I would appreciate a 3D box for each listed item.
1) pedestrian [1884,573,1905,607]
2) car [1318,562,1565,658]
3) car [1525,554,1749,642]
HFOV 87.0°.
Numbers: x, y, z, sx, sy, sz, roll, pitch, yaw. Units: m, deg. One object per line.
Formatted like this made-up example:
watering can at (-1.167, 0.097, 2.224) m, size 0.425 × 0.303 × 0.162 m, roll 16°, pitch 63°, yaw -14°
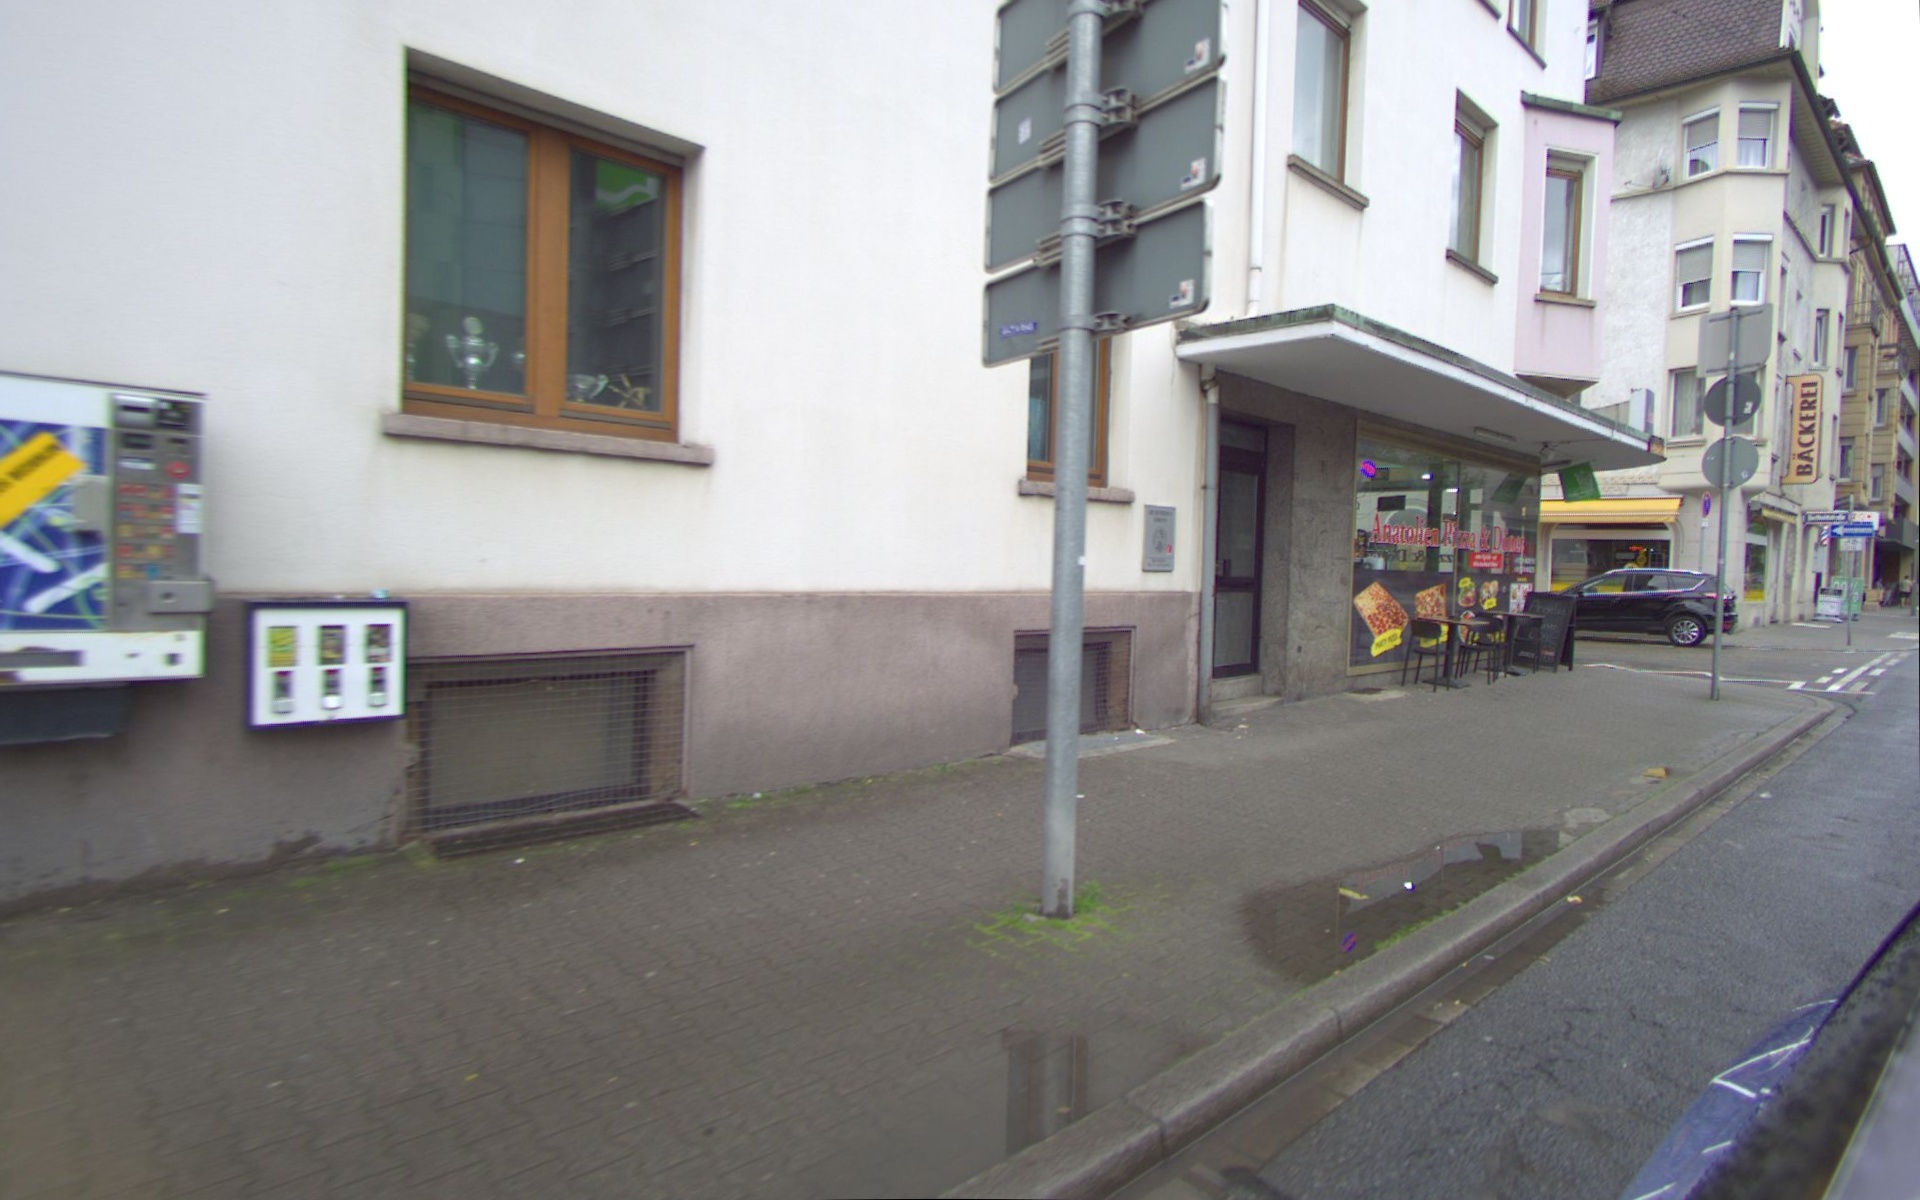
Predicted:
pedestrian at (44.797, -0.476, 48.526) m, size 0.558 × 1.592 × 0.620 m, roll 2°, pitch 2°, yaw 31°
car at (9.492, 0.102, 20.142) m, size 4.105 × 1.626 × 1.780 m, roll 3°, pitch 4°, yaw 42°
car at (15.657, -0.115, 23.512) m, size 4.132 × 1.793 × 1.847 m, roll 3°, pitch 3°, yaw 39°
